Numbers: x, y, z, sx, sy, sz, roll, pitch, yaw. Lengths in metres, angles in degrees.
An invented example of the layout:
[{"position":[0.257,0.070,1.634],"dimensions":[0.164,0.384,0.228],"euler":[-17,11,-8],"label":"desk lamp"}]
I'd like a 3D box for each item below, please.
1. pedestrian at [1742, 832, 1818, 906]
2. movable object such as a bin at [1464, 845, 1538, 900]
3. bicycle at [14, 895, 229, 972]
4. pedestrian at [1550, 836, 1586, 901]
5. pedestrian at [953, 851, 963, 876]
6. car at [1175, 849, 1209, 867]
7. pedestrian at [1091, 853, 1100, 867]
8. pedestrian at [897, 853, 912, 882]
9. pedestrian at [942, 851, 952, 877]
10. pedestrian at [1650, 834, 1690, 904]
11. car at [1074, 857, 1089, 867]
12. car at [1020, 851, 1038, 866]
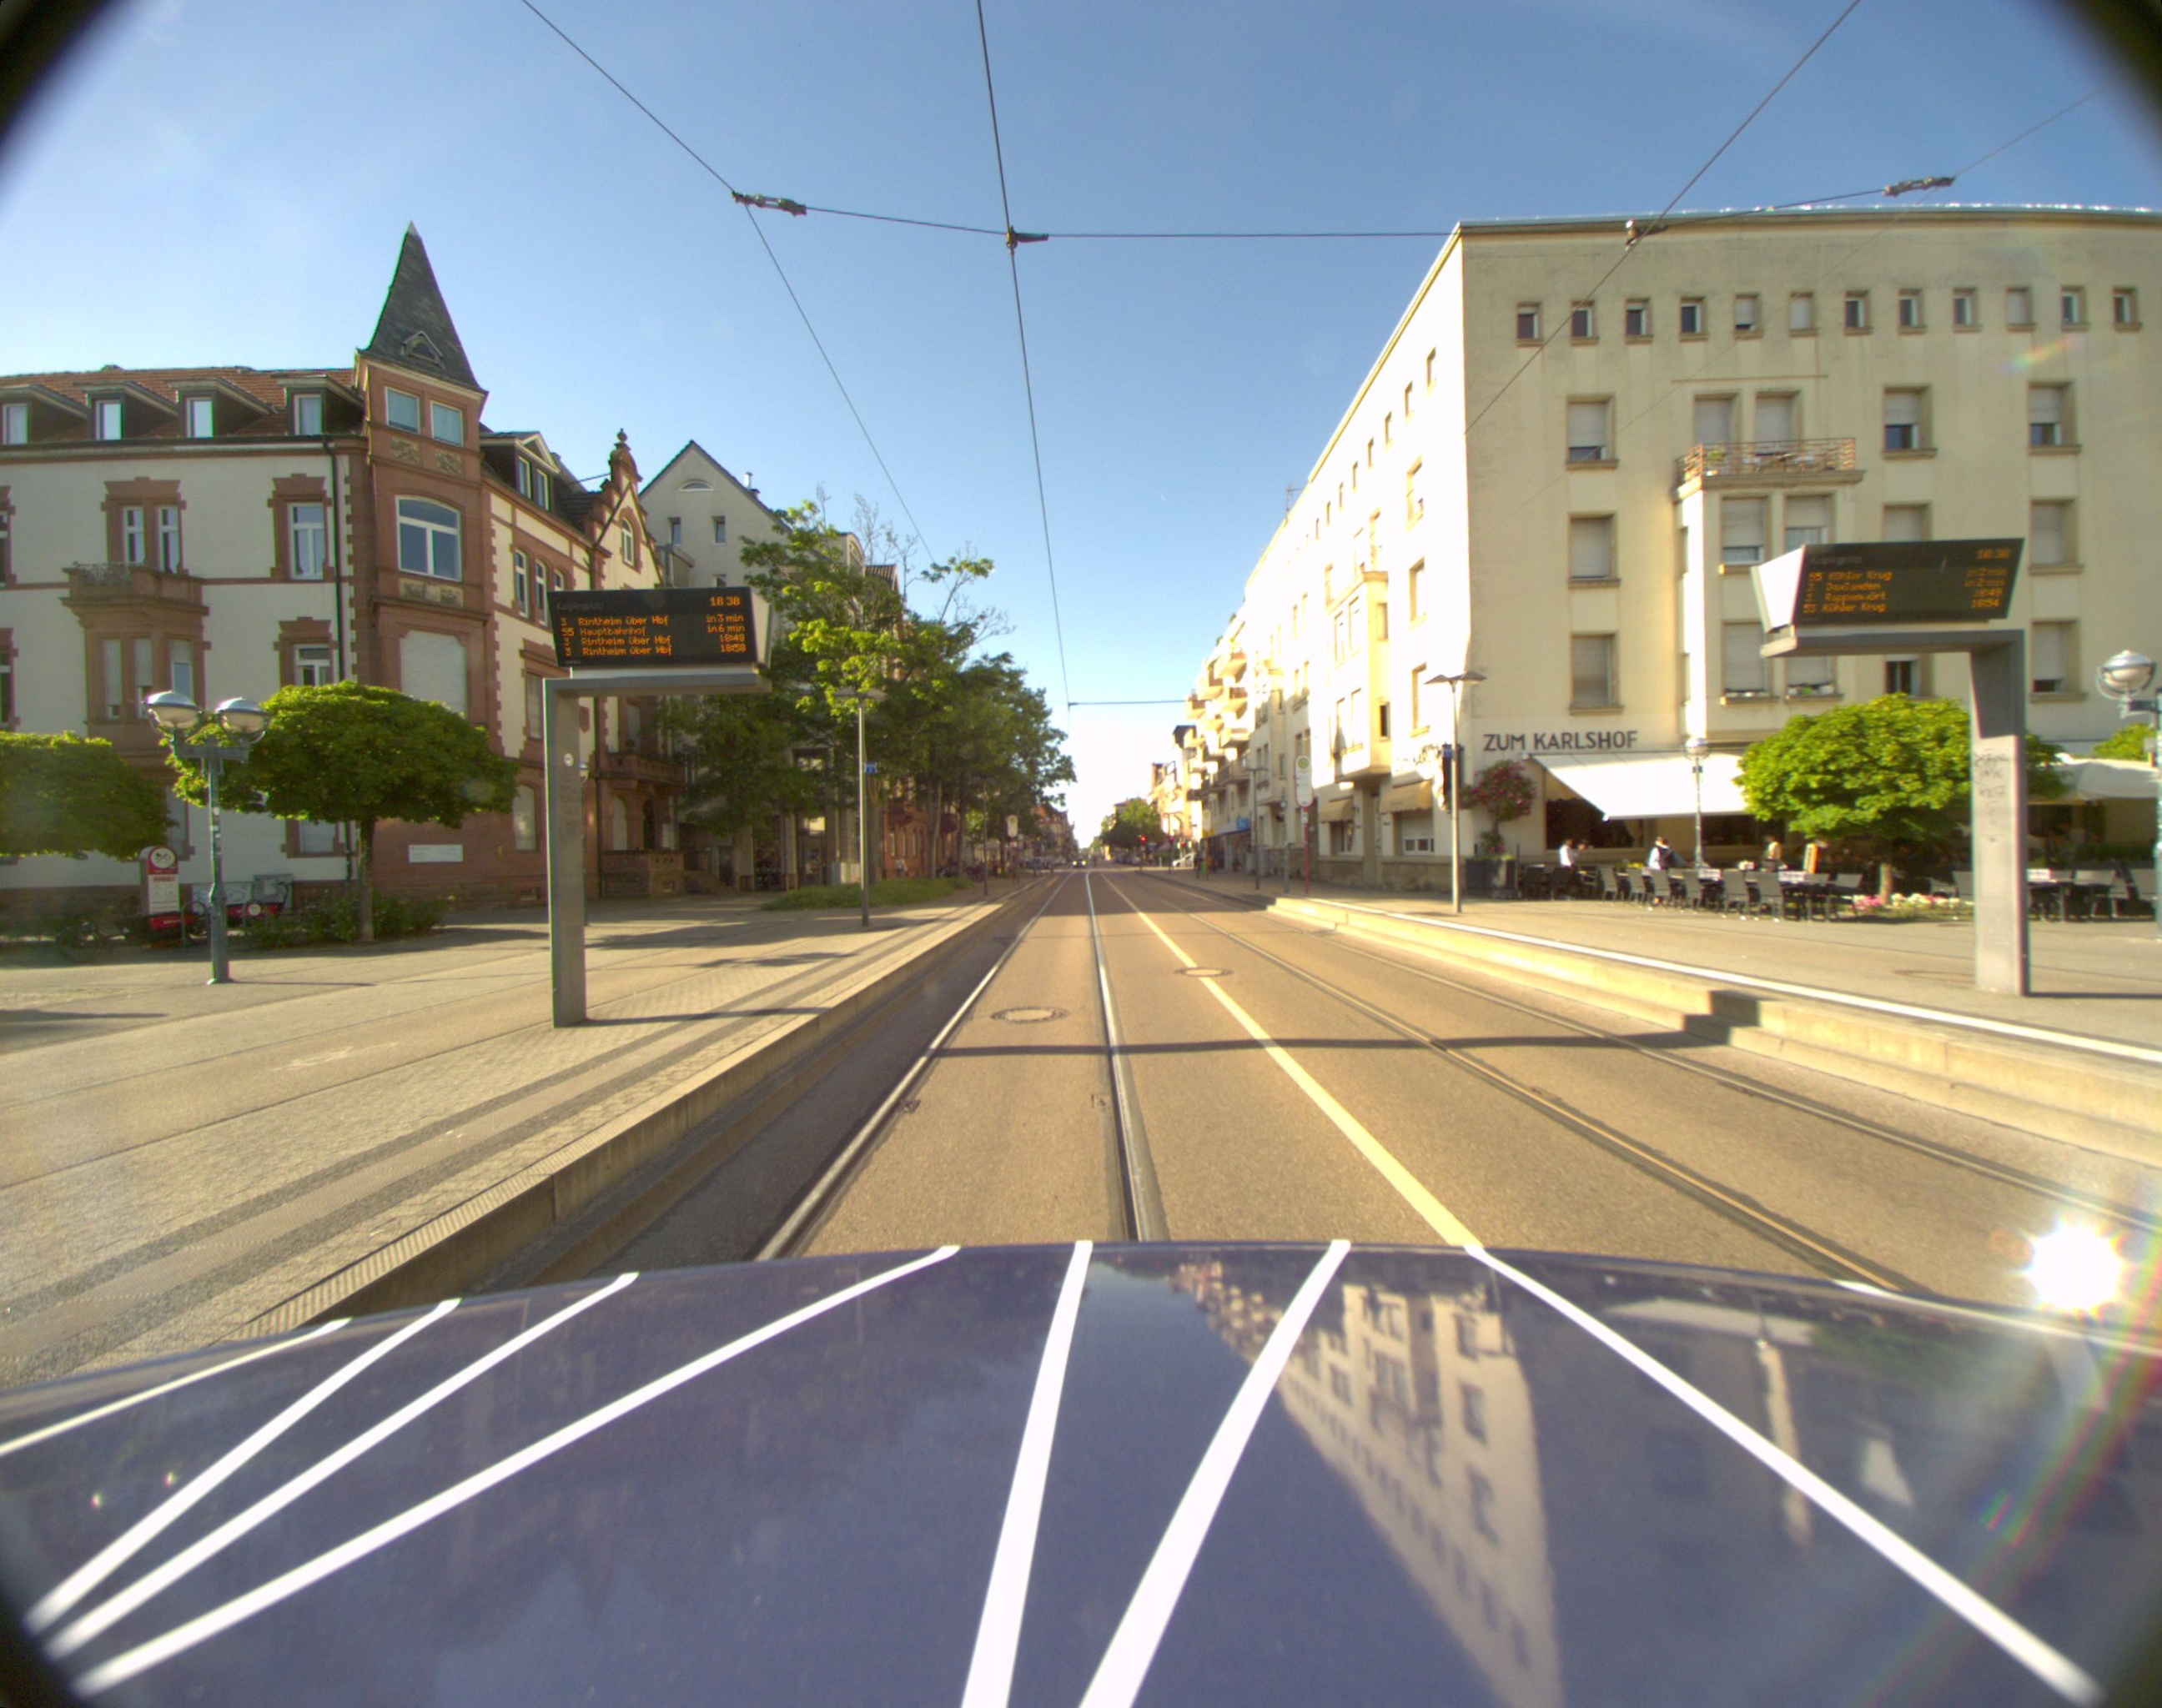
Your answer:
[{"position":[15.965,0.330,17.371],"dimensions":[1.066,1.635,0.756],"euler":[-1,1,-4],"label":"pedestrian"},{"position":[11.167,0.475,20.241],"dimensions":[1.319,1.392,1.128],"euler":[-1,1,-1],"label":"movable object such as a bin"},{"position":[-18.045,1.442,14.455],"dimensions":[0.790,1.062,2.804],"euler":[-2,2,-8],"label":"bicycle"},{"position":[12.551,0.396,19.595],"dimensions":[0.672,1.634,0.752],"euler":[-1,-2,27],"label":"pedestrian"},{"position":[-9.828,0.753,60.764],"dimensions":[0.653,2.002,0.559],"euler":[-1,1,3],"label":"pedestrian"},{"position":[13.481,0.462,92.430],"dimensions":[3.994,2.105,1.879],"euler":[-1,1,7],"label":"car"},{"position":[2.180,0.888,114.236],"dimensions":[1.334,1.990,1.138],"euler":[-1,1,1],"label":"pedestrian"},{"position":[-10.611,0.802,45.625],"dimensions":[0.742,1.725,0.877],"euler":[-1,1,-6],"label":"pedestrian"},{"position":[-10.736,0.800,60.757],"dimensions":[0.653,2.002,0.559],"euler":[-1,1,3],"label":"pedestrian"},{"position":[14.145,0.365,18.248],"dimensions":[0.672,1.634,0.678],"euler":[-2,-3,43],"label":"pedestrian"},{"position":[0.108,1.102,108.745],"dimensions":[1.998,1.318,3.863],"euler":[-1,0,1],"label":"car"},{"position":[-7.197,0.675,105.878],"dimensions":[1.998,2.002,4.001],"euler":[-1,0,4],"label":"car"}]
